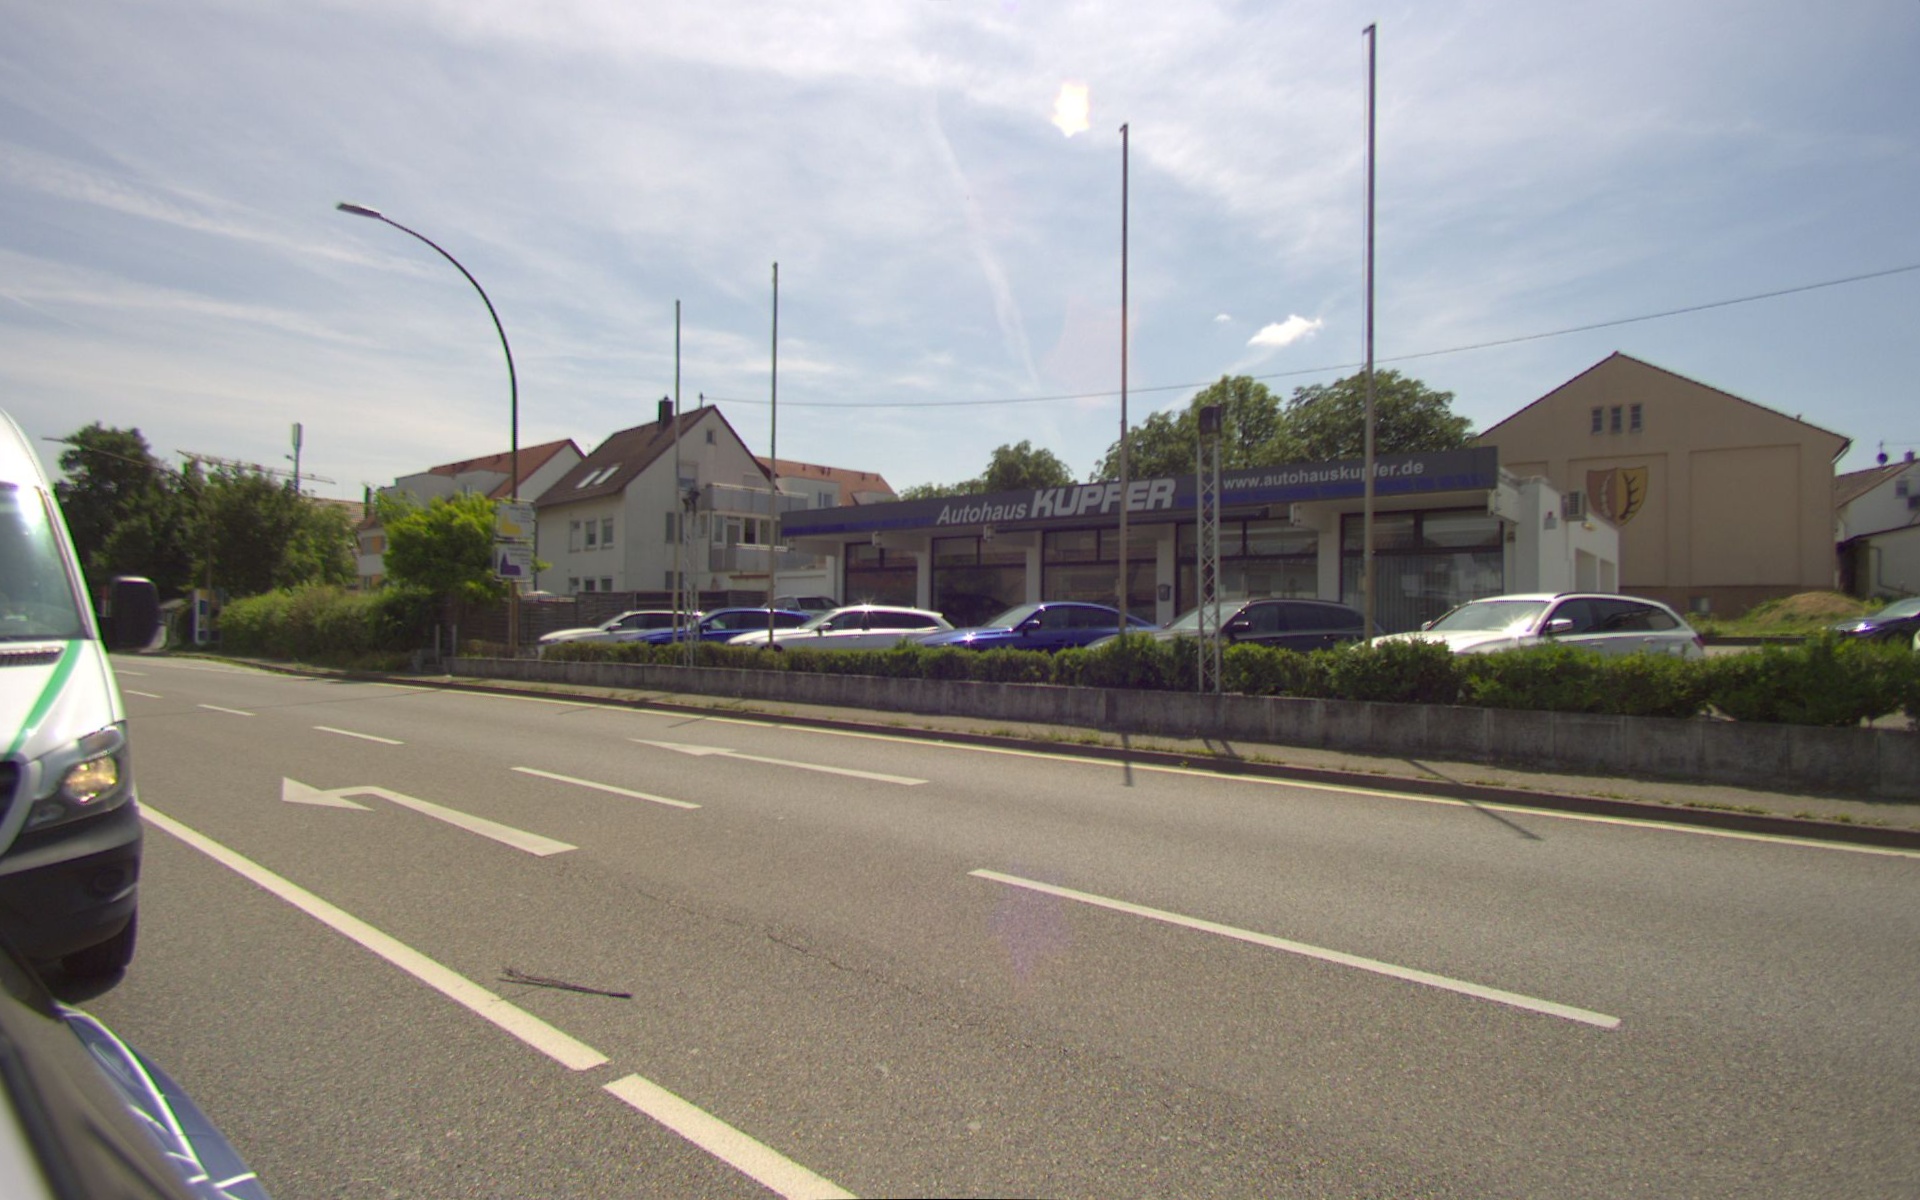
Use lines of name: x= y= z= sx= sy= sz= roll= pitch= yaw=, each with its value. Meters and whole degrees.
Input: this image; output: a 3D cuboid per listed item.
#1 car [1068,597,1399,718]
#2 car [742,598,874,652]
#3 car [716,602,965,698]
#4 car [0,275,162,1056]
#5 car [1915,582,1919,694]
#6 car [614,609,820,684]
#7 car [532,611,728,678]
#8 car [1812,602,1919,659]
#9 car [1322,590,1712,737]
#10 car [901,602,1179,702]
car: x=3.863 y=0.708 z=14.303 sx=4.267 sy=1.458 sz=1.905 roll=-1 pitch=0 yaw=-24
car: x=-4.636 y=0.729 z=30.330 sx=1.781 sy=1.475 sz=4.589 roll=-1 pitch=0 yaw=-40
car: x=-2.340 y=0.900 z=19.651 sx=4.438 sy=1.458 sz=1.863 roll=-3 pitch=1 yaw=-19
car: x=-5.657 y=0.259 z=4.760 sx=5.745 sy=2.548 sz=1.914 roll=-1 pitch=-1 yaw=40
car: x=15.159 y=0.472 z=14.216 sx=3.934 sy=1.521 sz=1.839 roll=-1 pitch=-1 yaw=-36
car: x=-5.442 y=0.983 z=22.610 sx=4.267 sy=1.458 sz=1.863 roll=-1 pitch=0 yaw=-21
car: x=-8.225 y=1.066 z=25.332 sx=4.501 sy=1.458 sz=1.863 roll=-1 pitch=0 yaw=-21
car: x=23.579 y=0.695 z=24.690 sx=3.946 sy=1.231 sz=1.791 roll=-2 pitch=0 yaw=2
car: x=6.607 y=0.631 z=11.994 sx=4.267 sy=1.458 sz=1.863 roll=-1 pitch=0 yaw=-24
car: x=1.320 y=0.800 z=17.060 sx=4.267 sy=1.458 sz=1.863 roll=-1 pitch=0 yaw=-19
